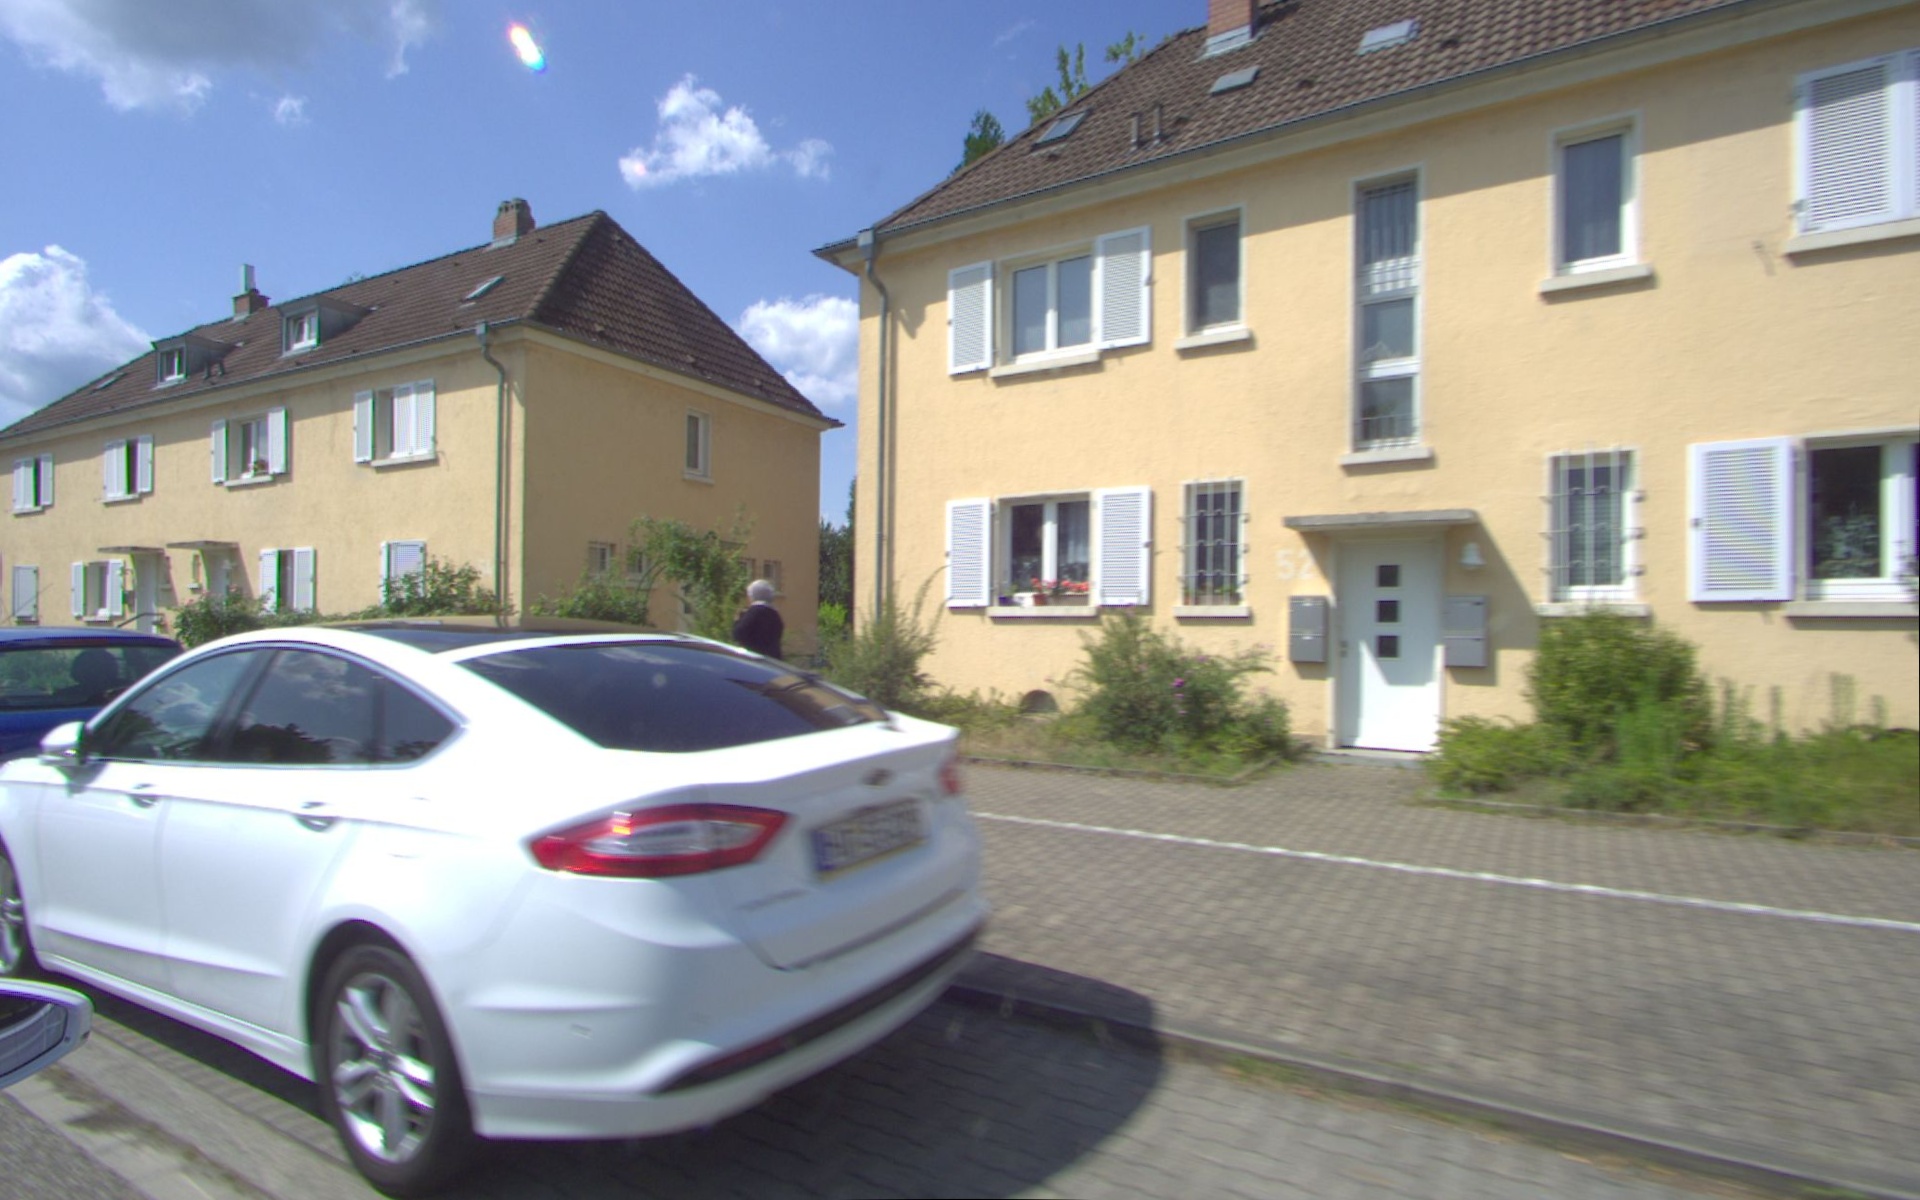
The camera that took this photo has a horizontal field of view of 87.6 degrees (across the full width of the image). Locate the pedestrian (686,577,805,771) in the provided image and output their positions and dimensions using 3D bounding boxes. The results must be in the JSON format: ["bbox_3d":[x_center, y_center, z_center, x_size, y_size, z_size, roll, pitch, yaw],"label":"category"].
[{"bbox_3d":[-1.962,0.659,9.204,0.628,1.673,0.851,0,-2,35],"label":"pedestrian"}]

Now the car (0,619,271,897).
[{"bbox_3d":[-6.500,0.859,6.695,3.941,1.436,1.618,0,0,31],"label":"car"}]

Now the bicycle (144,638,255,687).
[{"bbox_3d":[-15.732,1.282,20.766,0.361,0.968,1.860,0,-2,26],"label":"bicycle"}]

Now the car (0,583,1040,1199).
[{"bbox_3d":[-2.196,0.755,3.926,4.694,1.477,1.796,-1,0,30],"label":"car"}]
